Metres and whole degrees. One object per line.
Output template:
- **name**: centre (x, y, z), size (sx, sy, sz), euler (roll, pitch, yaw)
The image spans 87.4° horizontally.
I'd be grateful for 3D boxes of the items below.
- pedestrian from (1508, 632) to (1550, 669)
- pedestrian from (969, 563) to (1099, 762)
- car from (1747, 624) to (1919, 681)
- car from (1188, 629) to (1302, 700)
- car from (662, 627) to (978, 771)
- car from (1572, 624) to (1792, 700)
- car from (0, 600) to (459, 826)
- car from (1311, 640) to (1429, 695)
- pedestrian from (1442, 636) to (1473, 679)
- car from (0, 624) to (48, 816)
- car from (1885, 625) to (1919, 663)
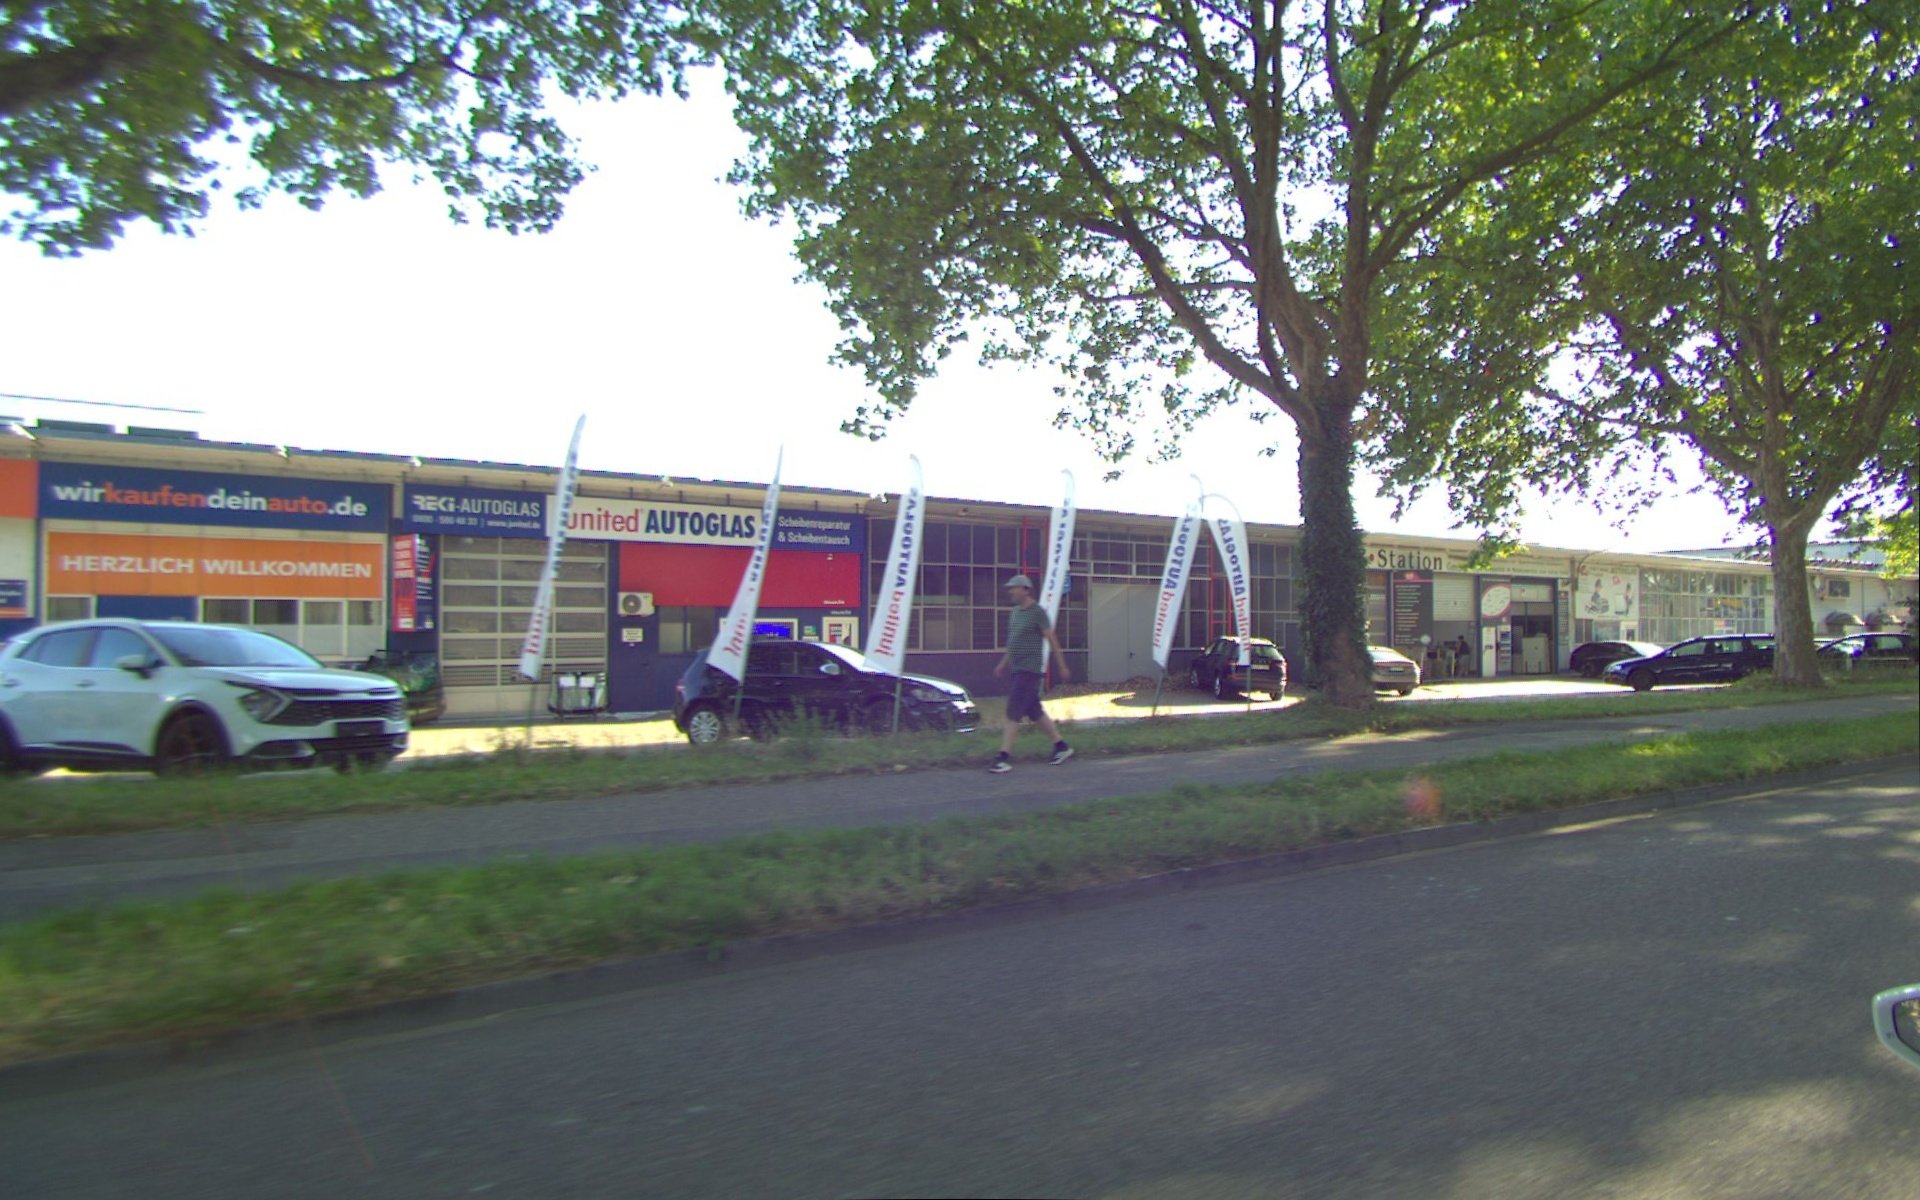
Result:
- **pedestrian**: centre (25.127, 2.229, 44.347), size (1.108, 1.581, 1.158), euler (2, 0, -24)
- **pedestrian**: centre (0.701, 0.571, 9.649), size (0.929, 1.796, 0.800), euler (2, 0, -28)
- **car**: centre (27.630, 1.616, 31.703), size (4.280, 1.550, 1.993), euler (2, 0, 37)
- **car**: centre (8.075, 1.791, 28.840), size (1.961, 1.728, 3.999), euler (2, 0, -3)
- **car**: centre (-1.829, 1.247, 13.700), size (3.765, 1.596, 2.001), euler (2, 0, 14)
- **car**: centre (20.078, 1.648, 28.144), size (4.821, 1.783, 1.993), euler (2, 0, 37)
- **car**: centre (-7.460, 0.948, 9.936), size (4.226, 1.774, 2.001), euler (2, 0, 17)
- **car**: centre (12.929, 2.087, 31.956), size (1.961, 1.461, 3.999), euler (2, 0, -3)
- **pedestrian**: centre (20.248, 2.348, 40.892), size (0.761, 1.698, 0.789), euler (2, 0, -30)
- **car**: centre (-10.077, 0.951, 8.015), size (3.969, 1.591, 2.001), euler (2, 0, 7)
- **car**: centre (39.625, 1.796, 39.602), size (4.180, 1.471, 1.999), euler (2, 0, 22)
